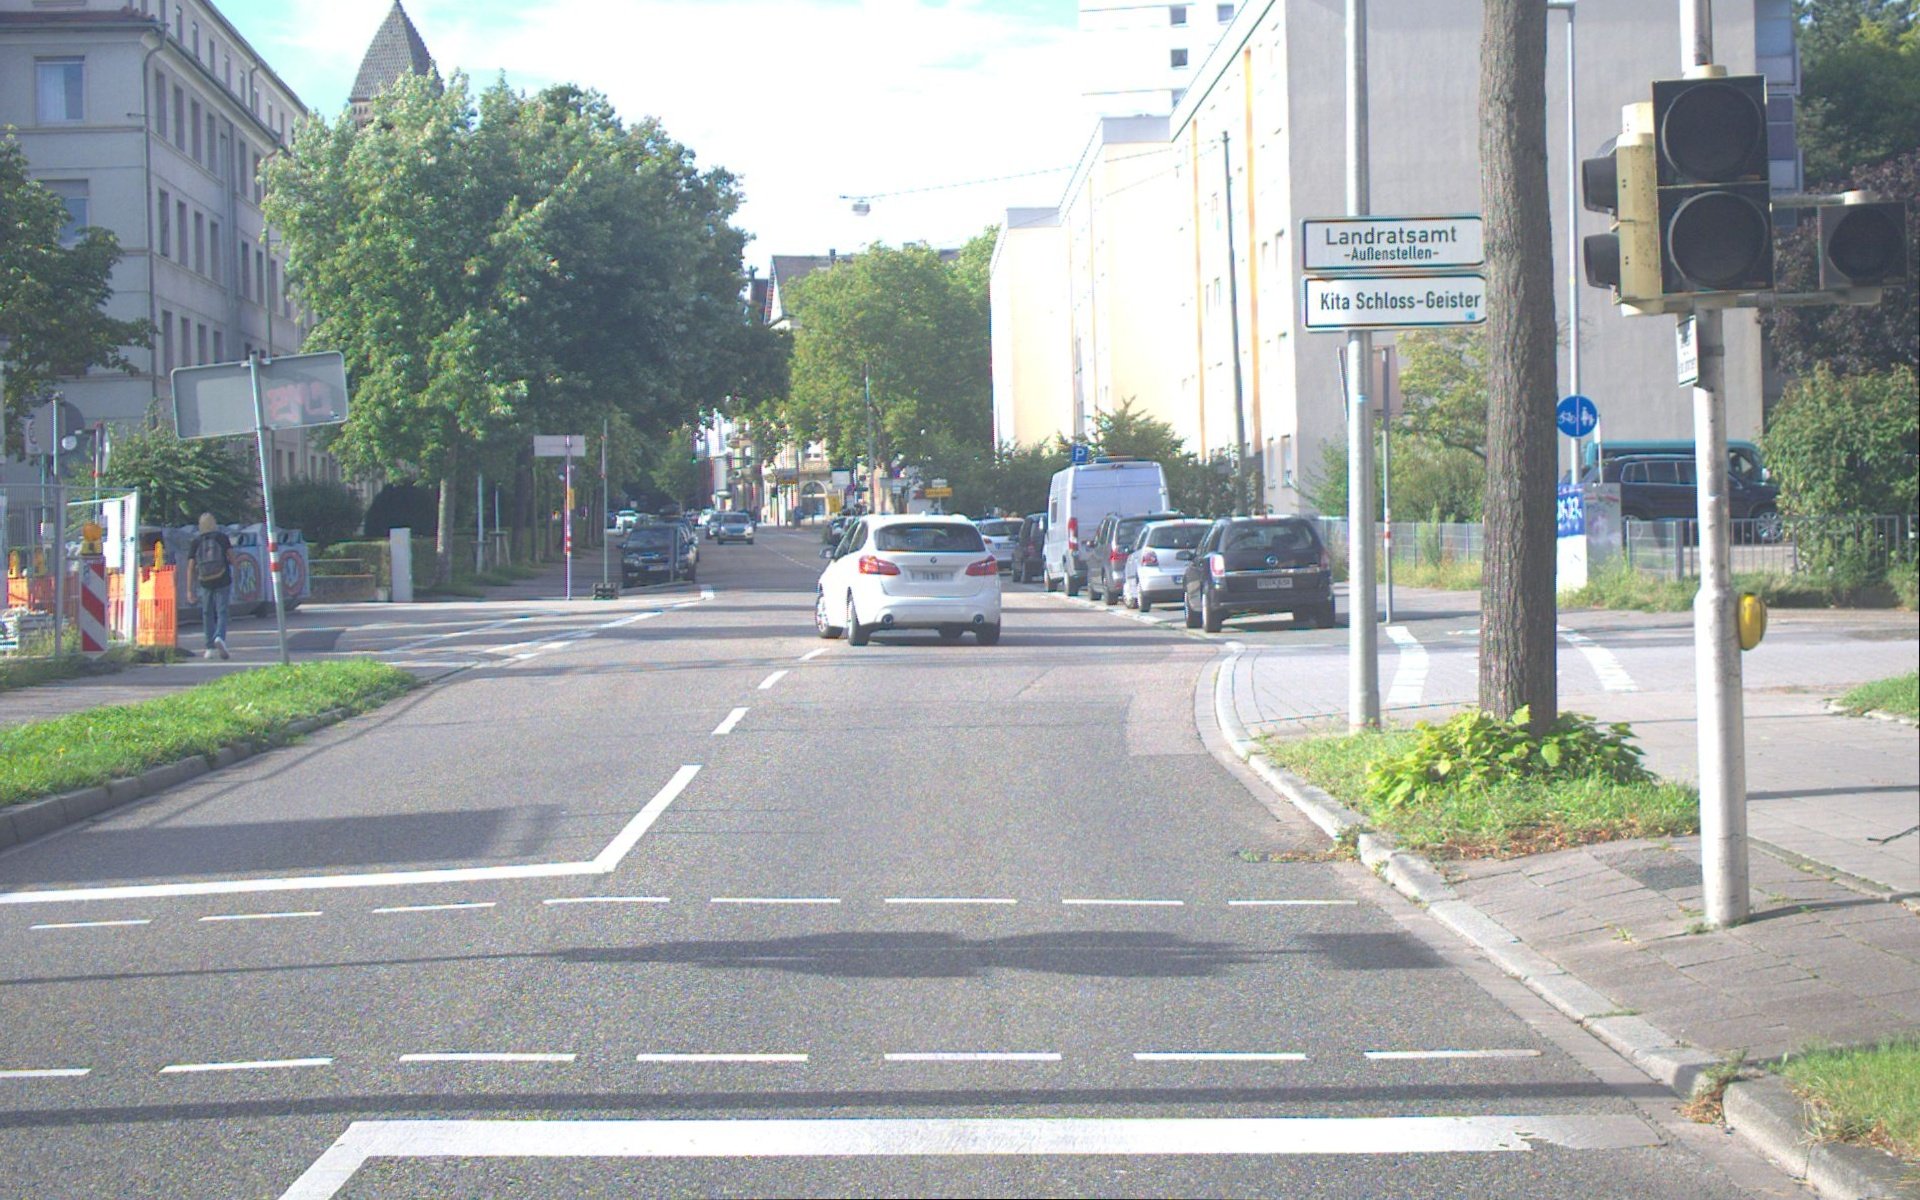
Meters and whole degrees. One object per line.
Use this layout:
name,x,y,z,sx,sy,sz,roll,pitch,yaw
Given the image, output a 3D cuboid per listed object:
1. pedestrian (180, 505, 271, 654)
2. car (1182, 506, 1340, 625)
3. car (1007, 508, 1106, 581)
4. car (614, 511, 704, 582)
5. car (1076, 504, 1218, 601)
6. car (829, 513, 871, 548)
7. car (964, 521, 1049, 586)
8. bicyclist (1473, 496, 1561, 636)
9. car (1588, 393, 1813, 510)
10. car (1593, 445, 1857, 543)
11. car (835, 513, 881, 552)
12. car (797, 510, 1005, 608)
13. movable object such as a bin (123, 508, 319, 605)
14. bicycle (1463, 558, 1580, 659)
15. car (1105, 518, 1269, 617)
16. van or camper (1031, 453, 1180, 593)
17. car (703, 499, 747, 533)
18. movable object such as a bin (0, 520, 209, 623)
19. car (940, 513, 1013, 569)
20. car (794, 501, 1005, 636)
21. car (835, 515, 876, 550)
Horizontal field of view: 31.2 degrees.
pedestrian,-8.684,-0.245,40.595,1.006,1.722,1.178,-1,0,-13
car,3.928,-0.471,45.461,1.717,1.491,4.268,-1,1,0
car,2.193,-1.290,79.308,1.993,1.568,4.001,-2,2,-2
car,-7.436,-1.326,84.651,1.993,1.634,4.001,-2,2,-7
car,3.349,-0.886,62.356,1.993,1.610,4.409,-2,2,-4
car,-5.502,-3.474,171.883,1.993,1.749,4.000,0,1,0
car,1.193,-1.242,89.771,1.993,1.568,4.001,-2,2,-2
bicyclist,6.261,-0.385,38.656,0.737,1.508,0.875,-4,1,-1
car,14.978,-2.998,69.735,4.119,2.178,2.000,-2,1,3
car,14.088,-1.952,63.505,4.448,1.616,2.000,-2,1,3
car,-4.651,-3.064,156.626,1.993,1.749,4.000,0,1,0
car,-0.928,-0.700,57.036,1.996,1.565,3.995,0,1,23
movable object such as a bin,-13.169,-0.767,61.290,3.105,1.702,1.409,0,1,13
bicycle,6.292,0.074,38.668,0.740,1.031,2.762,-4,1,-1
car,3.711,-0.550,57.014,2.015,1.470,4.803,-3,1,-4
van or camper,2.847,-1.539,68.539,2.209,2.598,5.373,-2,2,-5
car,-12.431,-4.436,181.695,2.055,1.658,3.927,-2,2,-7
movable object such as a bin,-14.434,-0.475,57.905,3.105,1.702,1.547,0,1,14
car,0.485,-1.790,102.850,1.993,1.568,4.001,-2,2,-2
car,-0.796,-0.398,41.966,1.993,1.549,4.275,0,1,-9
car,-5.378,-3.454,176.666,1.993,1.749,4.000,0,1,0
